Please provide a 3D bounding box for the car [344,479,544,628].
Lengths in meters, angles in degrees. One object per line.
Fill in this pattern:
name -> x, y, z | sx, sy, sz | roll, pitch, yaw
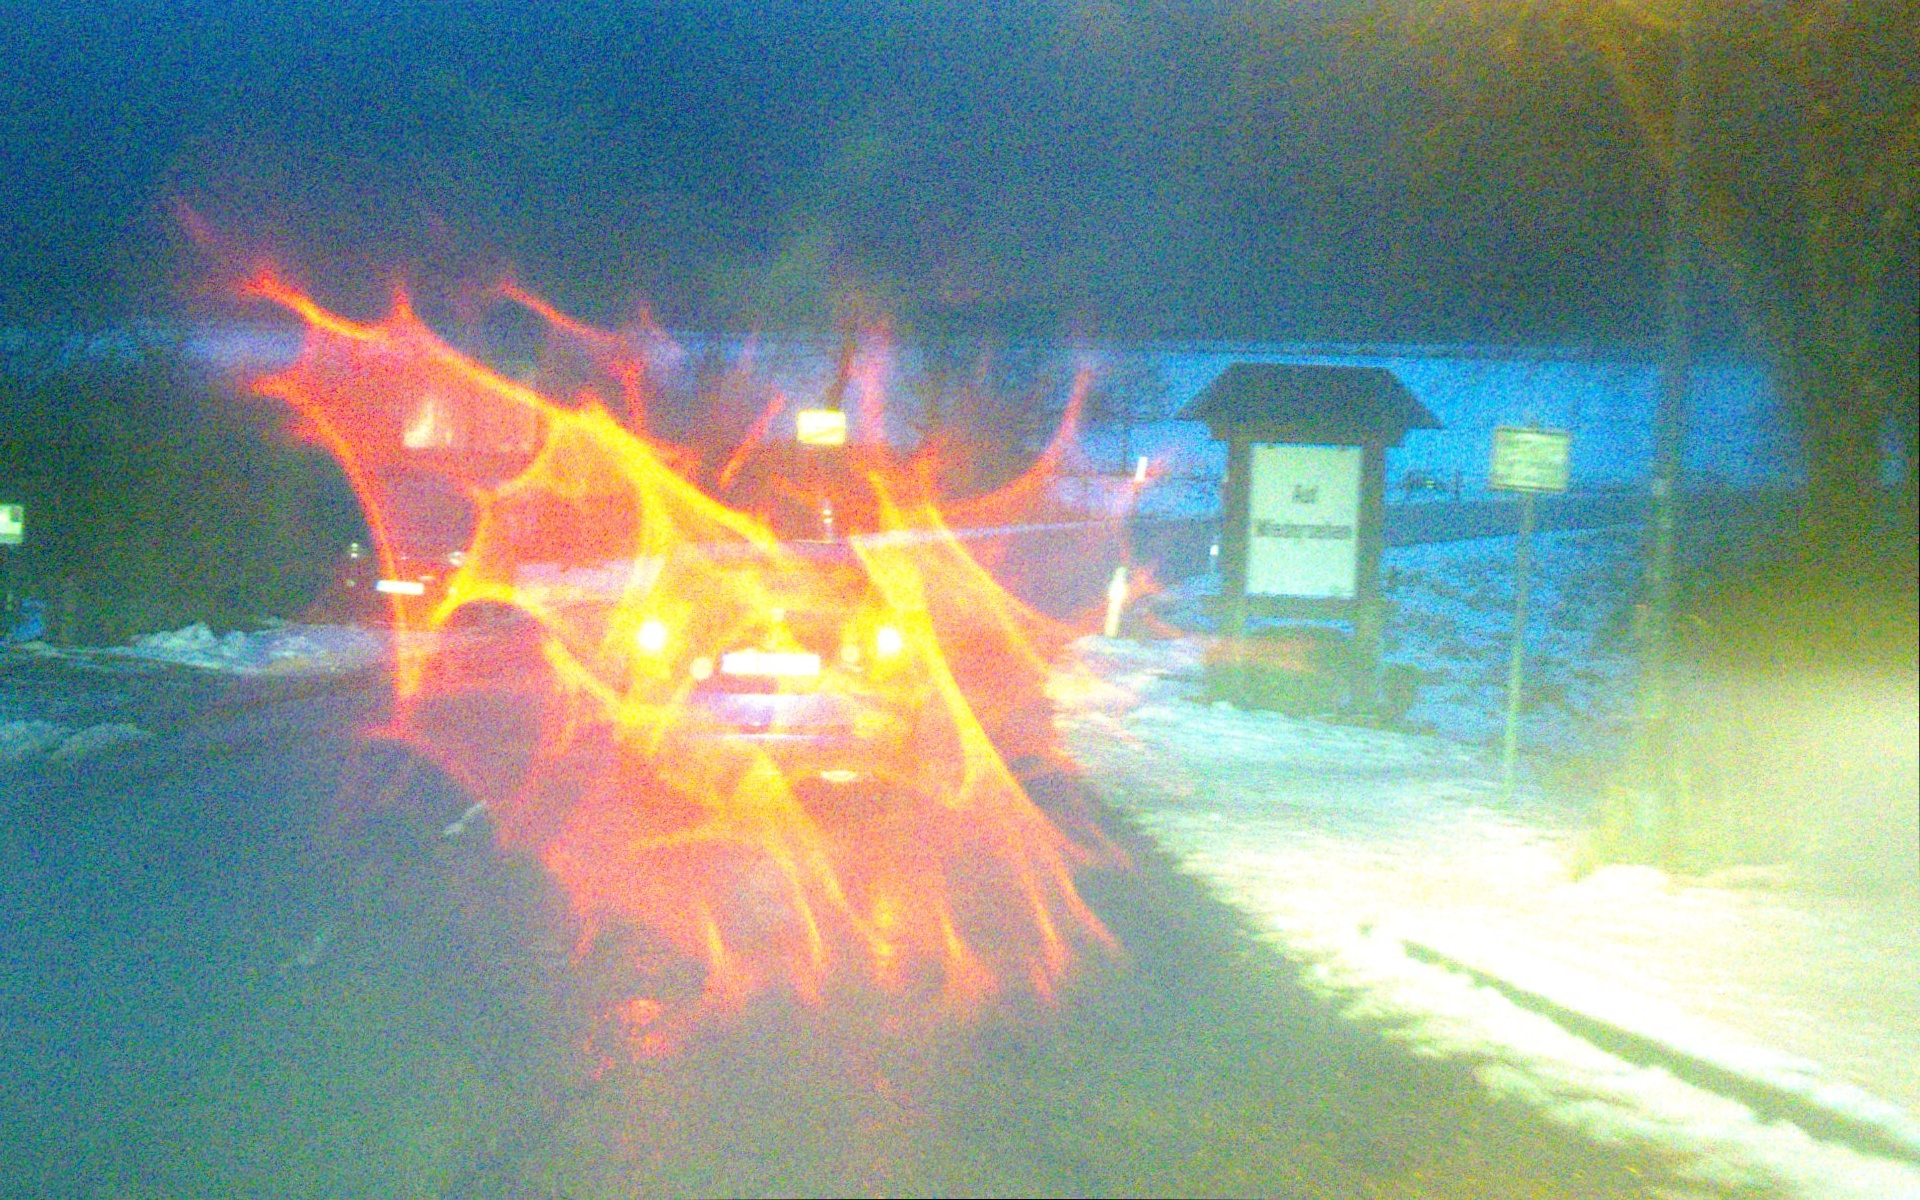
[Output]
car -> -5.942, -0.574, 39.910 | 1.718, 1.529, 3.517 | 2, 3, 1

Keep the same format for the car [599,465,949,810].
car -> -1.128, 0.144, 20.065 | 1.822, 1.790, 3.578 | -1, 2, -5
